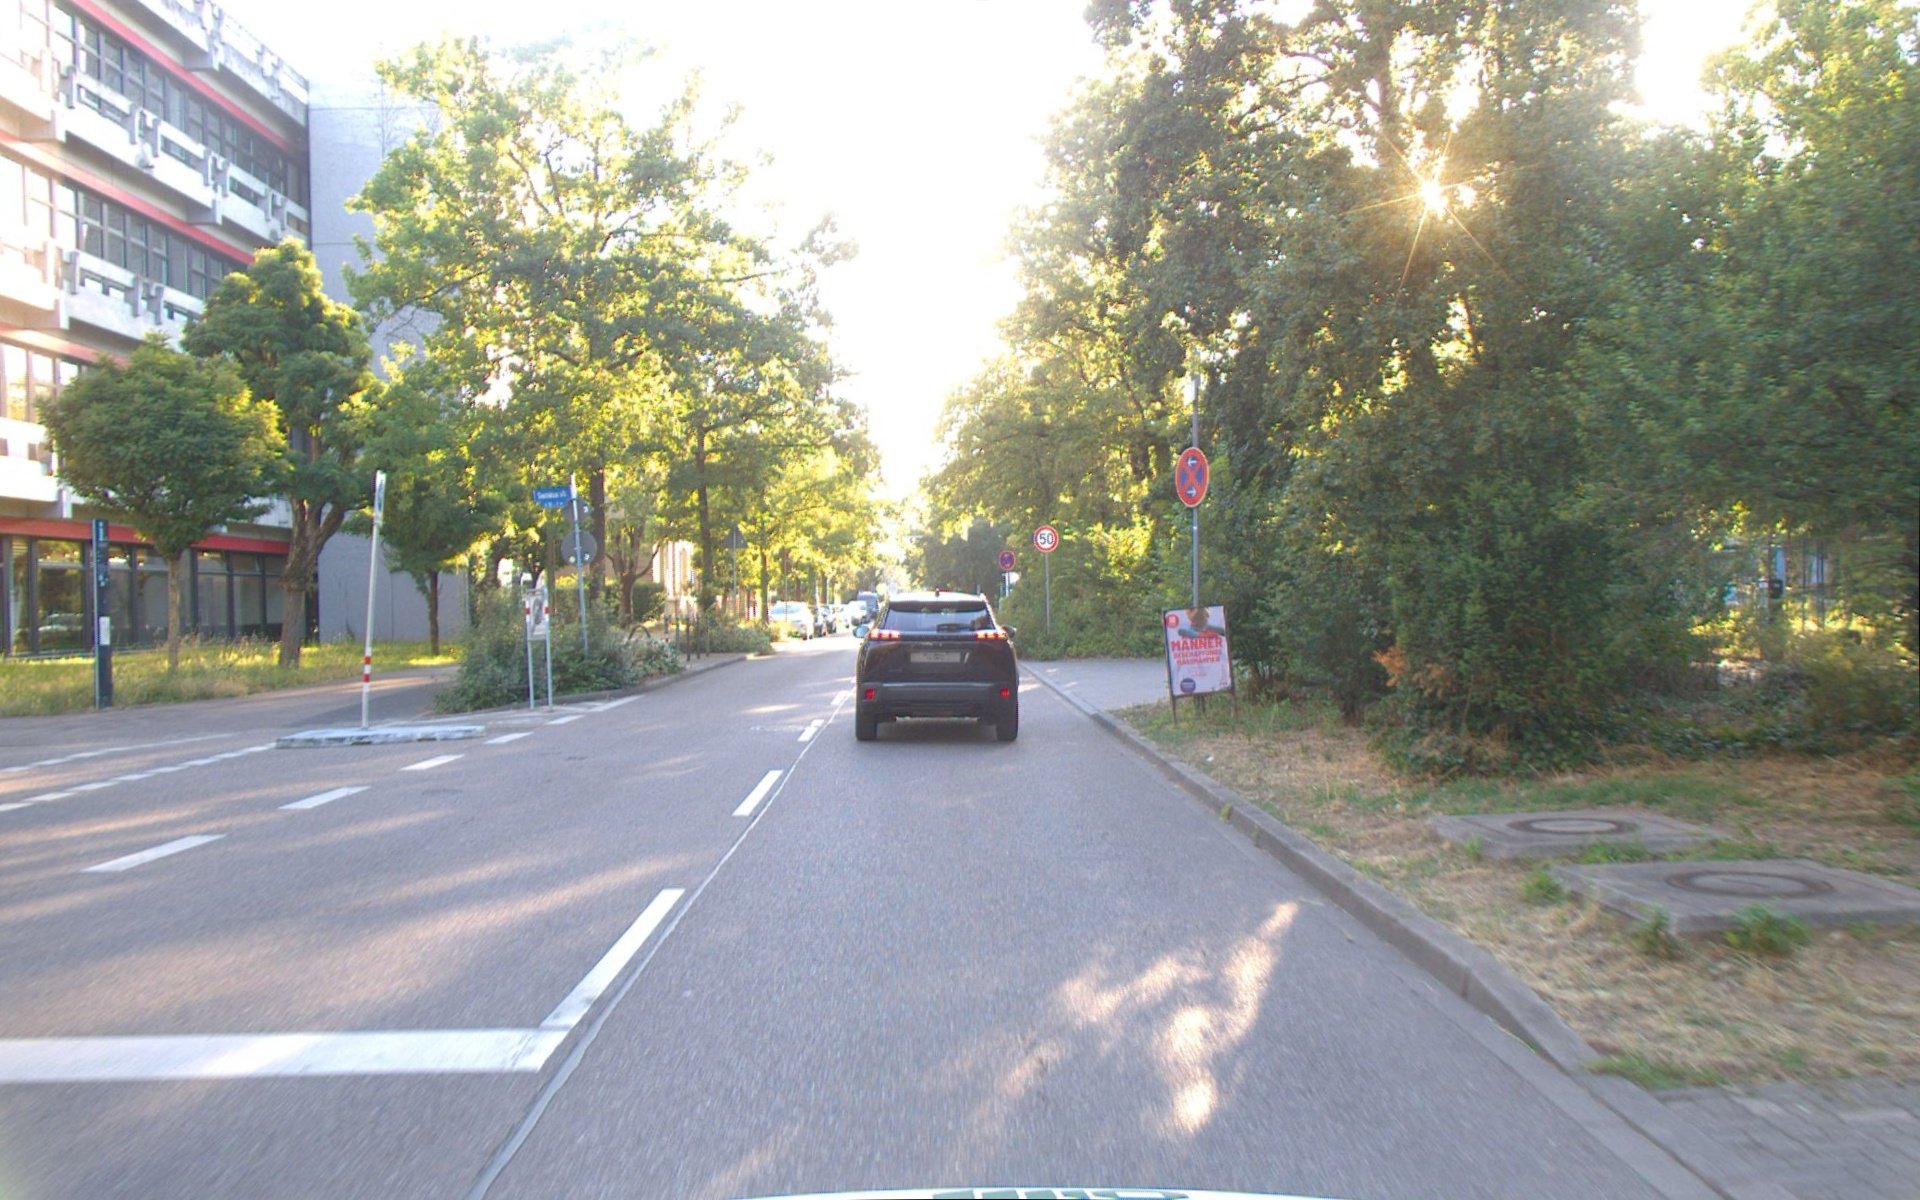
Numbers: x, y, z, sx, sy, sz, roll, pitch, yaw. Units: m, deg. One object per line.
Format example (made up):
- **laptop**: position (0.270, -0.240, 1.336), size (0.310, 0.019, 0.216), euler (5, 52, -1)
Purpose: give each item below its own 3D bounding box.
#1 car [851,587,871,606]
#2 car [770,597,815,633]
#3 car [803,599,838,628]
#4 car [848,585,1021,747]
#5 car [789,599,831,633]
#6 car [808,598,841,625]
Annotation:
- **car**: position (-10.436, -0.368, 174.118), size (1.868, 1.900, 3.948), euler (-2, 0, -1)
- **car**: position (-6.994, 0.614, 69.086), size (1.775, 1.377, 3.995), euler (-2, 1, -6)
- **car**: position (-7.306, 0.685, 86.656), size (1.775, 1.377, 3.996), euler (-2, 1, -5)
- **car**: position (-0.288, 0.654, 18.477), size (1.732, 1.596, 3.380), euler (-1, 1, -1)
- **car**: position (-6.818, 0.709, 75.337), size (1.775, 1.377, 3.996), euler (-2, 1, -5)
- **car**: position (-7.553, 0.644, 92.369), size (1.775, 1.377, 3.996), euler (-2, 1, -5)
